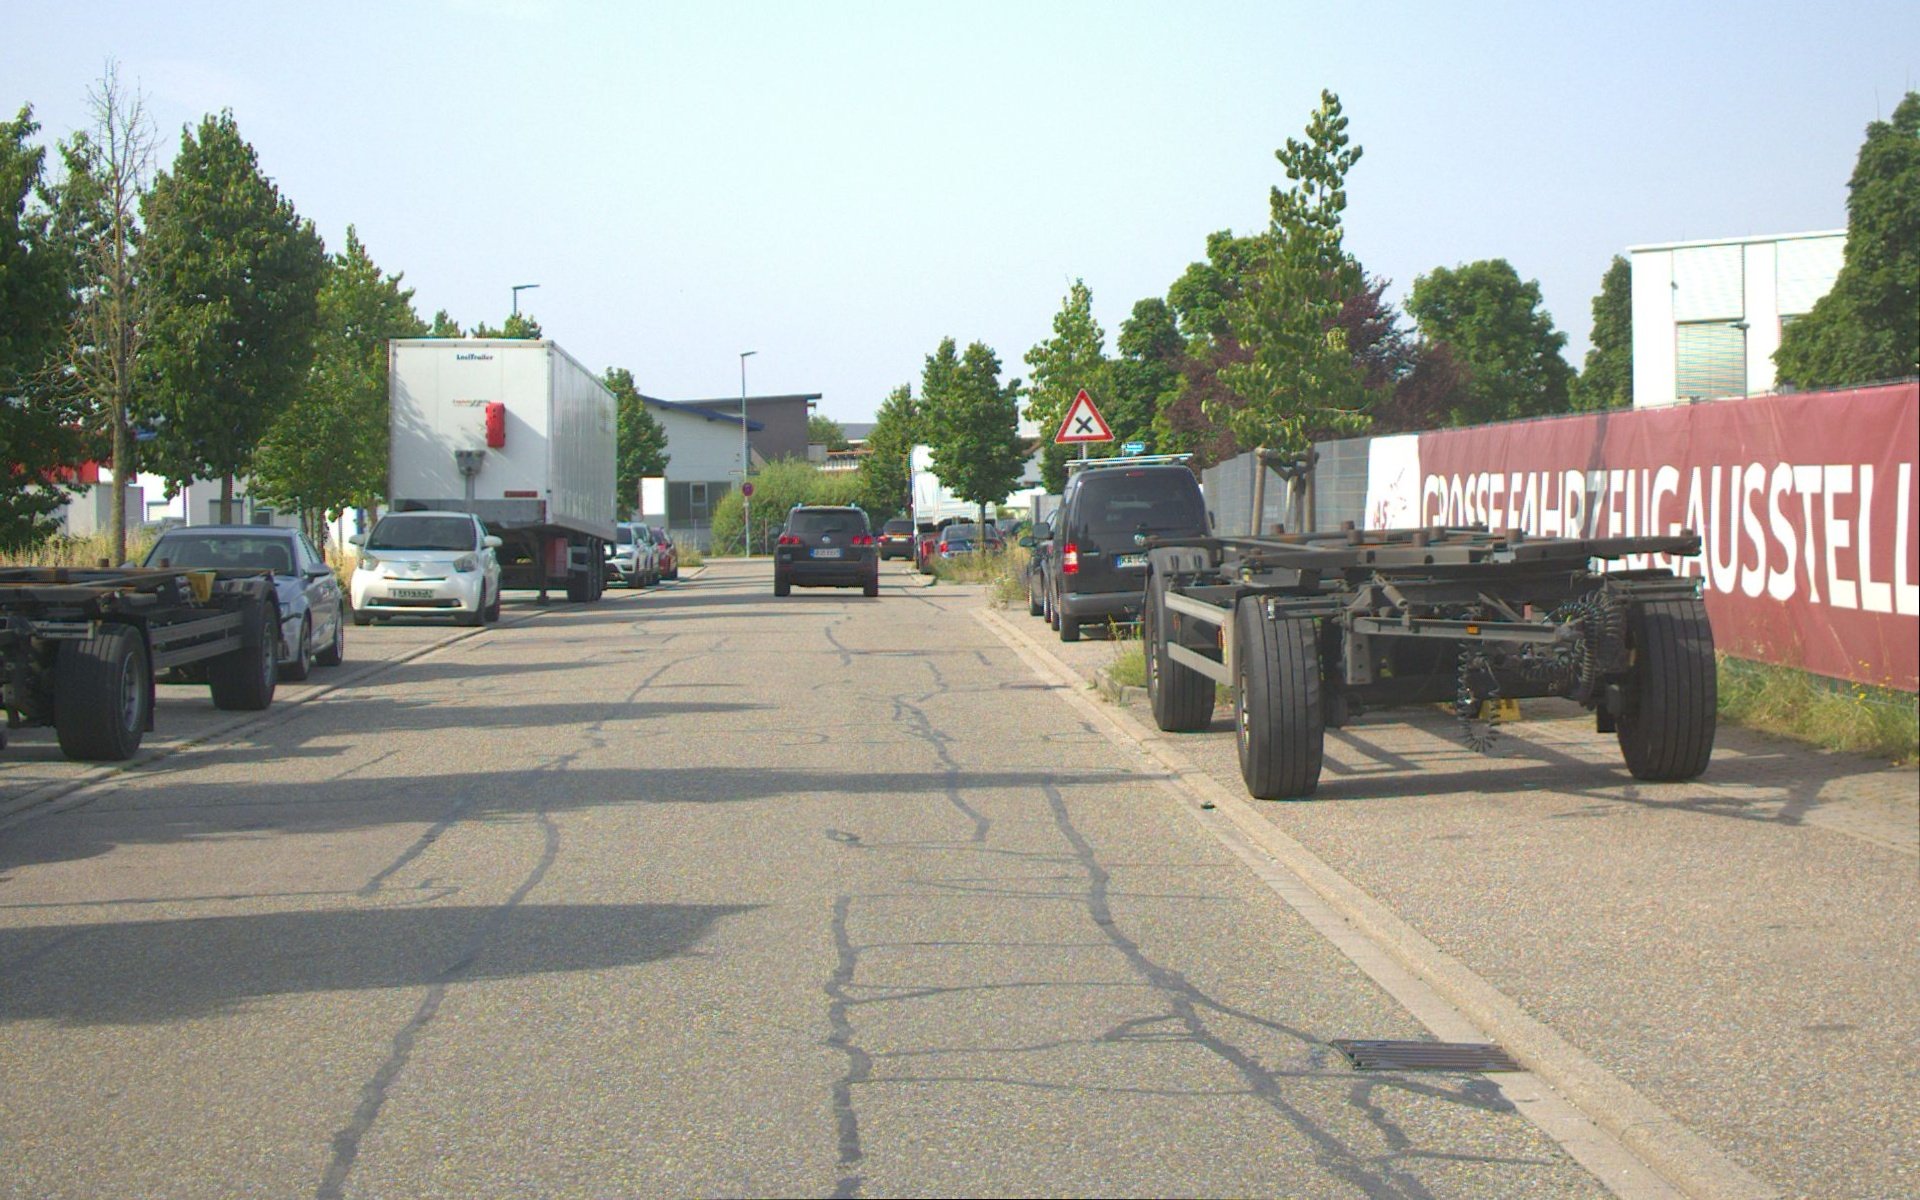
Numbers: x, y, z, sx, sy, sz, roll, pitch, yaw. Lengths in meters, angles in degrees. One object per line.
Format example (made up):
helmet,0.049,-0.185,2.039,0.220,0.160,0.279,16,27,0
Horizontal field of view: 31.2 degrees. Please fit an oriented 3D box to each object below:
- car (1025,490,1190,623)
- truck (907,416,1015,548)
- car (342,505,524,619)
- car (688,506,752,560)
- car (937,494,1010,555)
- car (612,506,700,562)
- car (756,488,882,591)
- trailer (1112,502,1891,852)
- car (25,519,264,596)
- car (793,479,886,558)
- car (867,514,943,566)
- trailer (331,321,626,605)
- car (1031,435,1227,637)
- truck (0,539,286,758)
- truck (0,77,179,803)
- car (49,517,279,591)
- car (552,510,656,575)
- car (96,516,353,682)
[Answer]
car,1.807,-0.586,43.184,1.818,1.444,3.801,-4,2,0
truck,0.023,-3.407,99.813,2.887,3.574,8.062,-2,2,0
car,-6.990,-0.536,45.962,1.810,1.422,4.000,-1,2,0
car,-8.097,-2.278,116.436,1.993,1.765,4.001,-1,2,-2
car,0.342,-1.969,89.112,1.818,1.444,3.801,-2,2,0
car,-8.599,-1.886,97.549,1.993,1.517,4.000,-1,2,2
car,-2.648,-1.156,63.667,1.993,1.798,4.001,-2,2,-6
trailer,2.577,0.199,19.714,2.623,1.383,9.456,-3,2,-2
car,-15.080,-0.788,63.658,3.988,1.335,1.617,-1,2,5
car,-2.846,-1.962,82.188,1.993,1.798,4.000,-1,2,1
car,-1.908,-2.123,120.619,1.994,1.765,3.999,-1,2,9
trailer,-8.101,-2.307,60.022,3.403,4.325,13.921,-1,2,-1
car,1.796,-0.736,37.648,1.818,1.971,4.001,-4,2,0
truck,-6.650,0.262,24.731,2.524,1.261,6.528,-1,2,-2
truck,-6.474,-0.801,16.386,2.626,3.915,12.920,0,2,0
car,-15.327,-0.888,66.262,3.988,1.335,1.617,-1,2,5
car,-8.787,-1.446,85.155,1.993,1.517,4.000,-1,2,2
car,-6.912,-0.058,32.678,1.884,1.431,4.001,-1,2,-5
